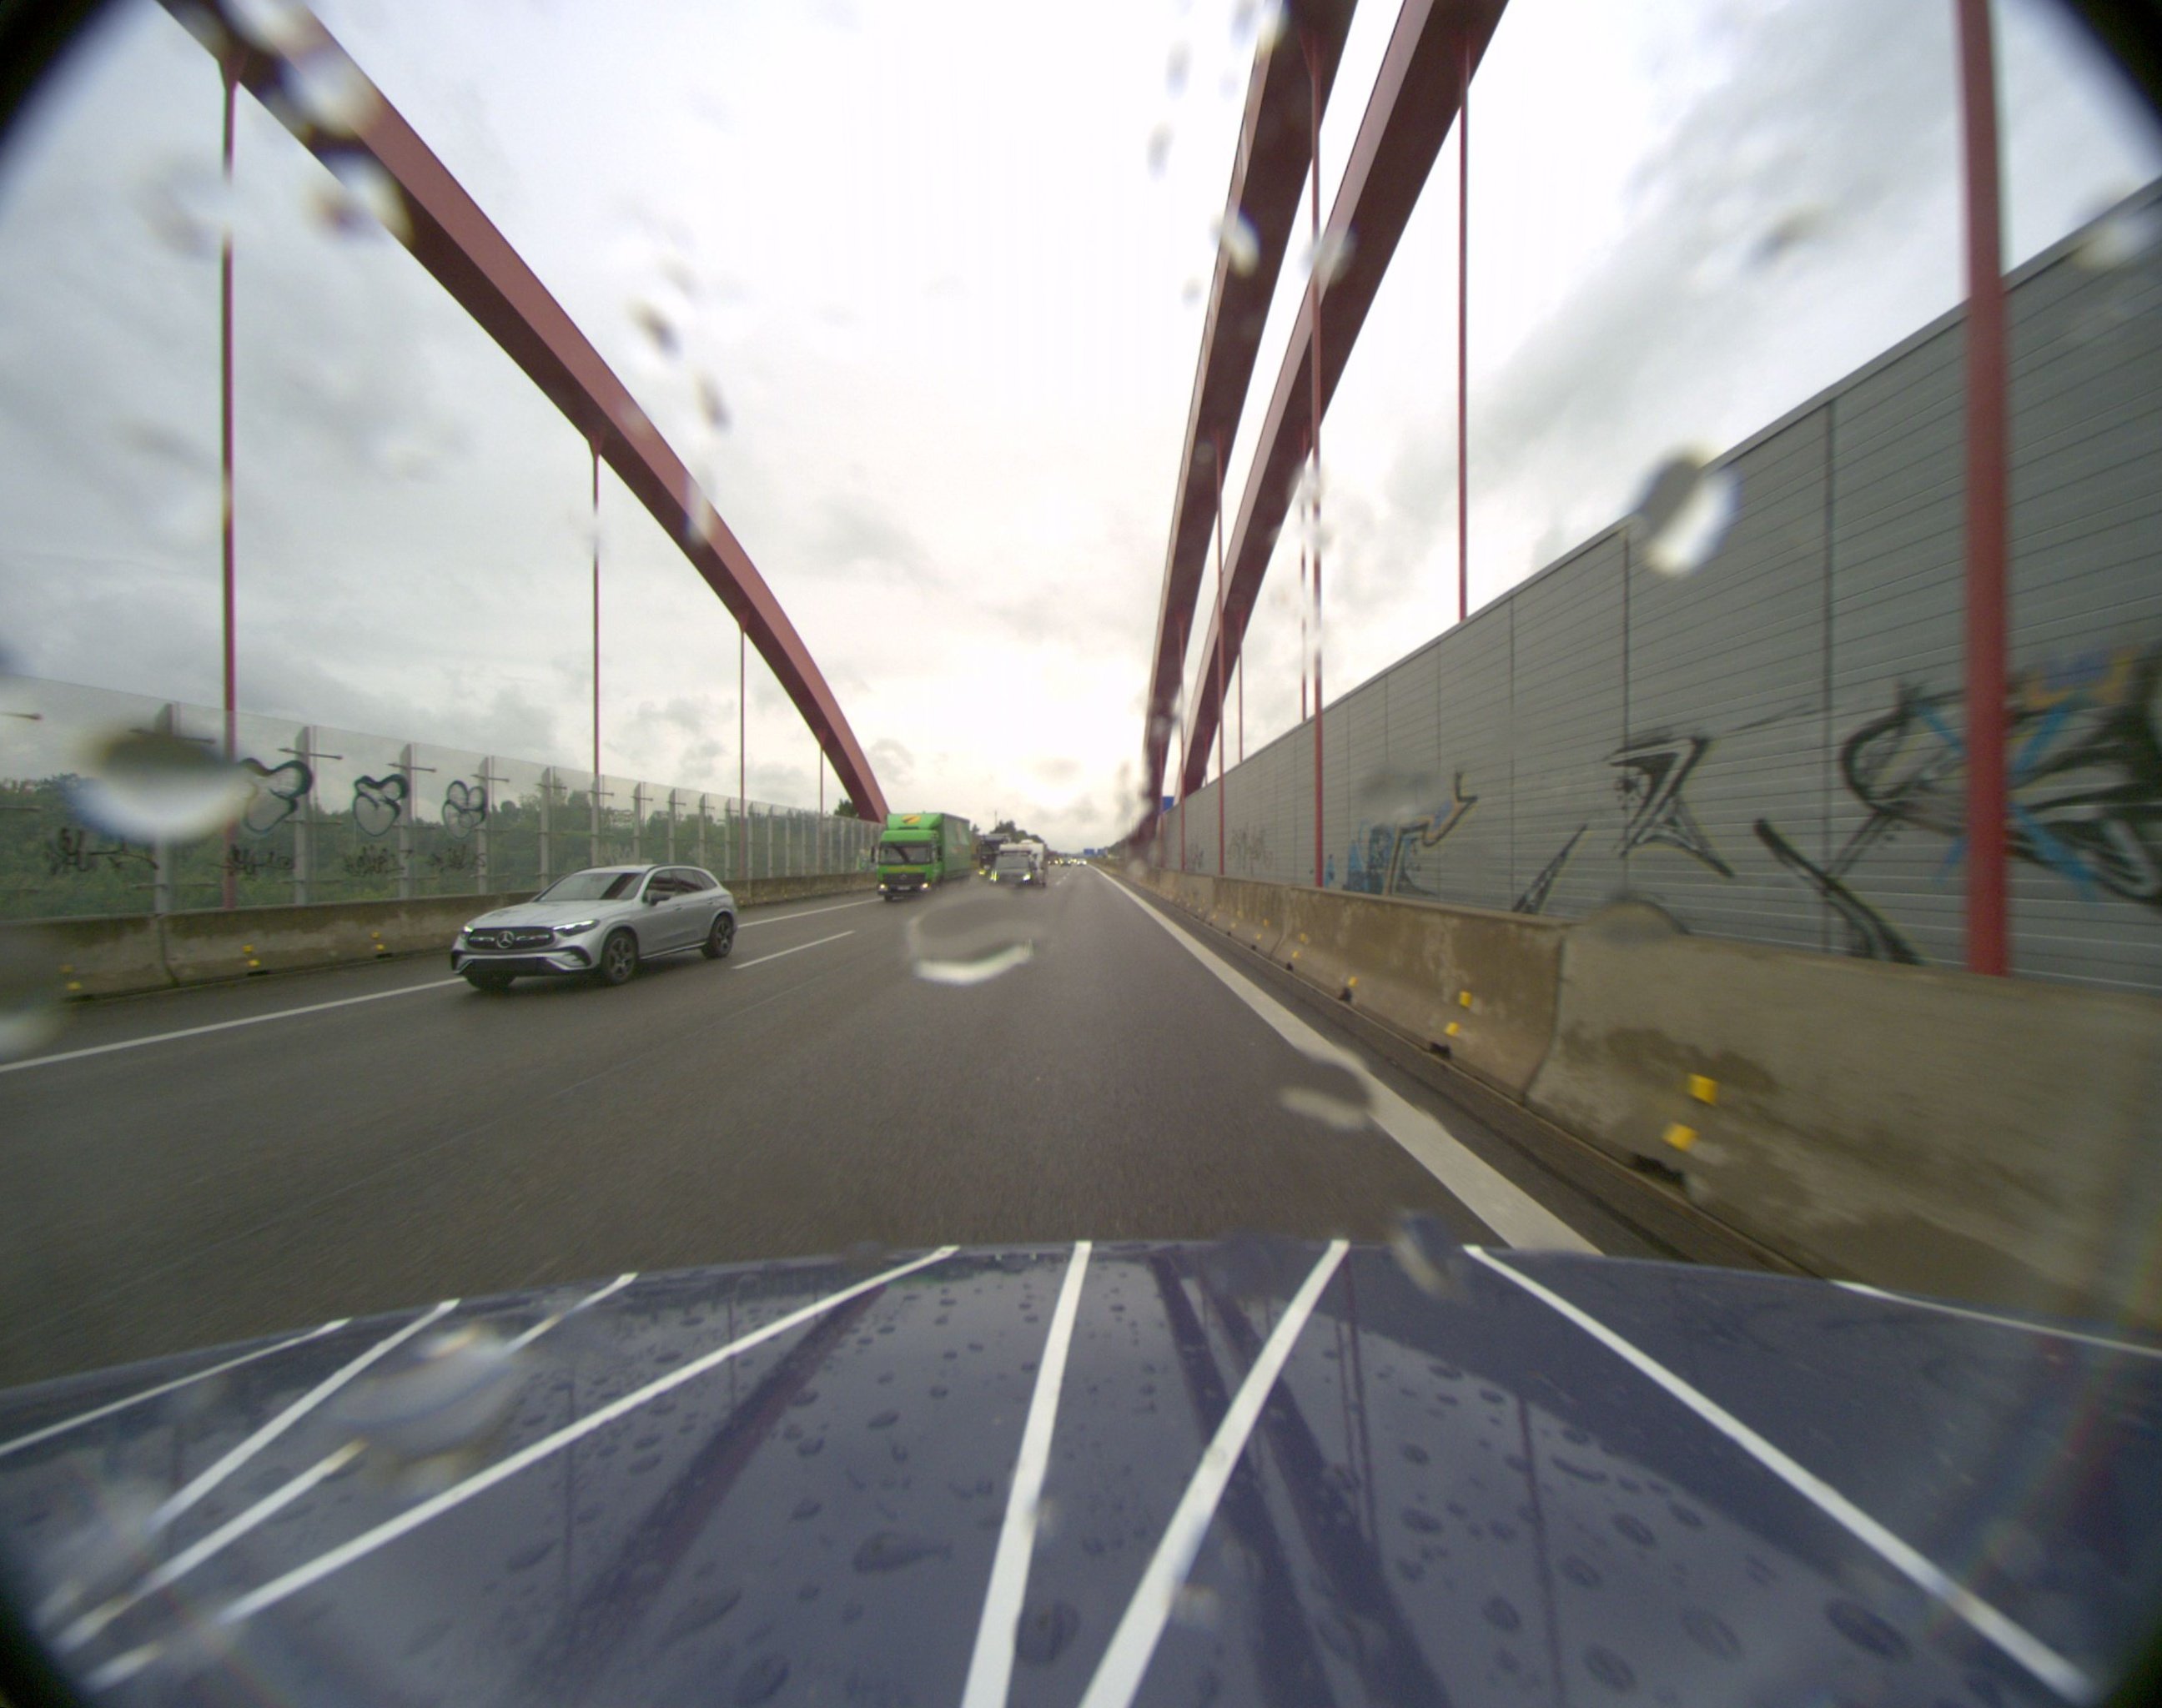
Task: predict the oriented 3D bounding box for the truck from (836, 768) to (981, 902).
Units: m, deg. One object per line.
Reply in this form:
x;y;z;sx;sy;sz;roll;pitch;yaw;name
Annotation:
-7.646;-0.775;36.004;4.007;5.235;11.219;-2;0;1;truck

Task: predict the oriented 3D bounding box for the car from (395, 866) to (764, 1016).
-7.104;1.081;11.733;1.998;1.610;5.328;-2;0;1;car

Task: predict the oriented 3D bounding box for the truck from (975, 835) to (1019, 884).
-7.262;0.407;66.994;2.820;3.927;12.710;0;0;-2;truck

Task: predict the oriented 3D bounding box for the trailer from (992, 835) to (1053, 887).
-3.101;0.364;42.146;2.728;2.627;7.511;-1;0;0;trailer

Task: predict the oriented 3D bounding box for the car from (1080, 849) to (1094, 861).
1.237;0.182;160.670;2.680;2.340;5.807;-1;0;-3;car

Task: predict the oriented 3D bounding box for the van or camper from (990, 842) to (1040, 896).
-3.003;0.635;35.524;1.895;2.256;5.678;-2;0;-2;van or camper

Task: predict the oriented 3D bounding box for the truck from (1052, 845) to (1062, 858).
-6.500;-0.661;206.180;2.617;3.218;4.632;-1;0;-1;truck

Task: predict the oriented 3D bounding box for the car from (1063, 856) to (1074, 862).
-2.578;0.993;155.598;2.061;1.020;3.437;-2;0;-1;car

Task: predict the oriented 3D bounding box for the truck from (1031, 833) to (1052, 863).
-5.519;-0.869;107.640;2.693;3.935;9.324;-2;0;-2;truck
